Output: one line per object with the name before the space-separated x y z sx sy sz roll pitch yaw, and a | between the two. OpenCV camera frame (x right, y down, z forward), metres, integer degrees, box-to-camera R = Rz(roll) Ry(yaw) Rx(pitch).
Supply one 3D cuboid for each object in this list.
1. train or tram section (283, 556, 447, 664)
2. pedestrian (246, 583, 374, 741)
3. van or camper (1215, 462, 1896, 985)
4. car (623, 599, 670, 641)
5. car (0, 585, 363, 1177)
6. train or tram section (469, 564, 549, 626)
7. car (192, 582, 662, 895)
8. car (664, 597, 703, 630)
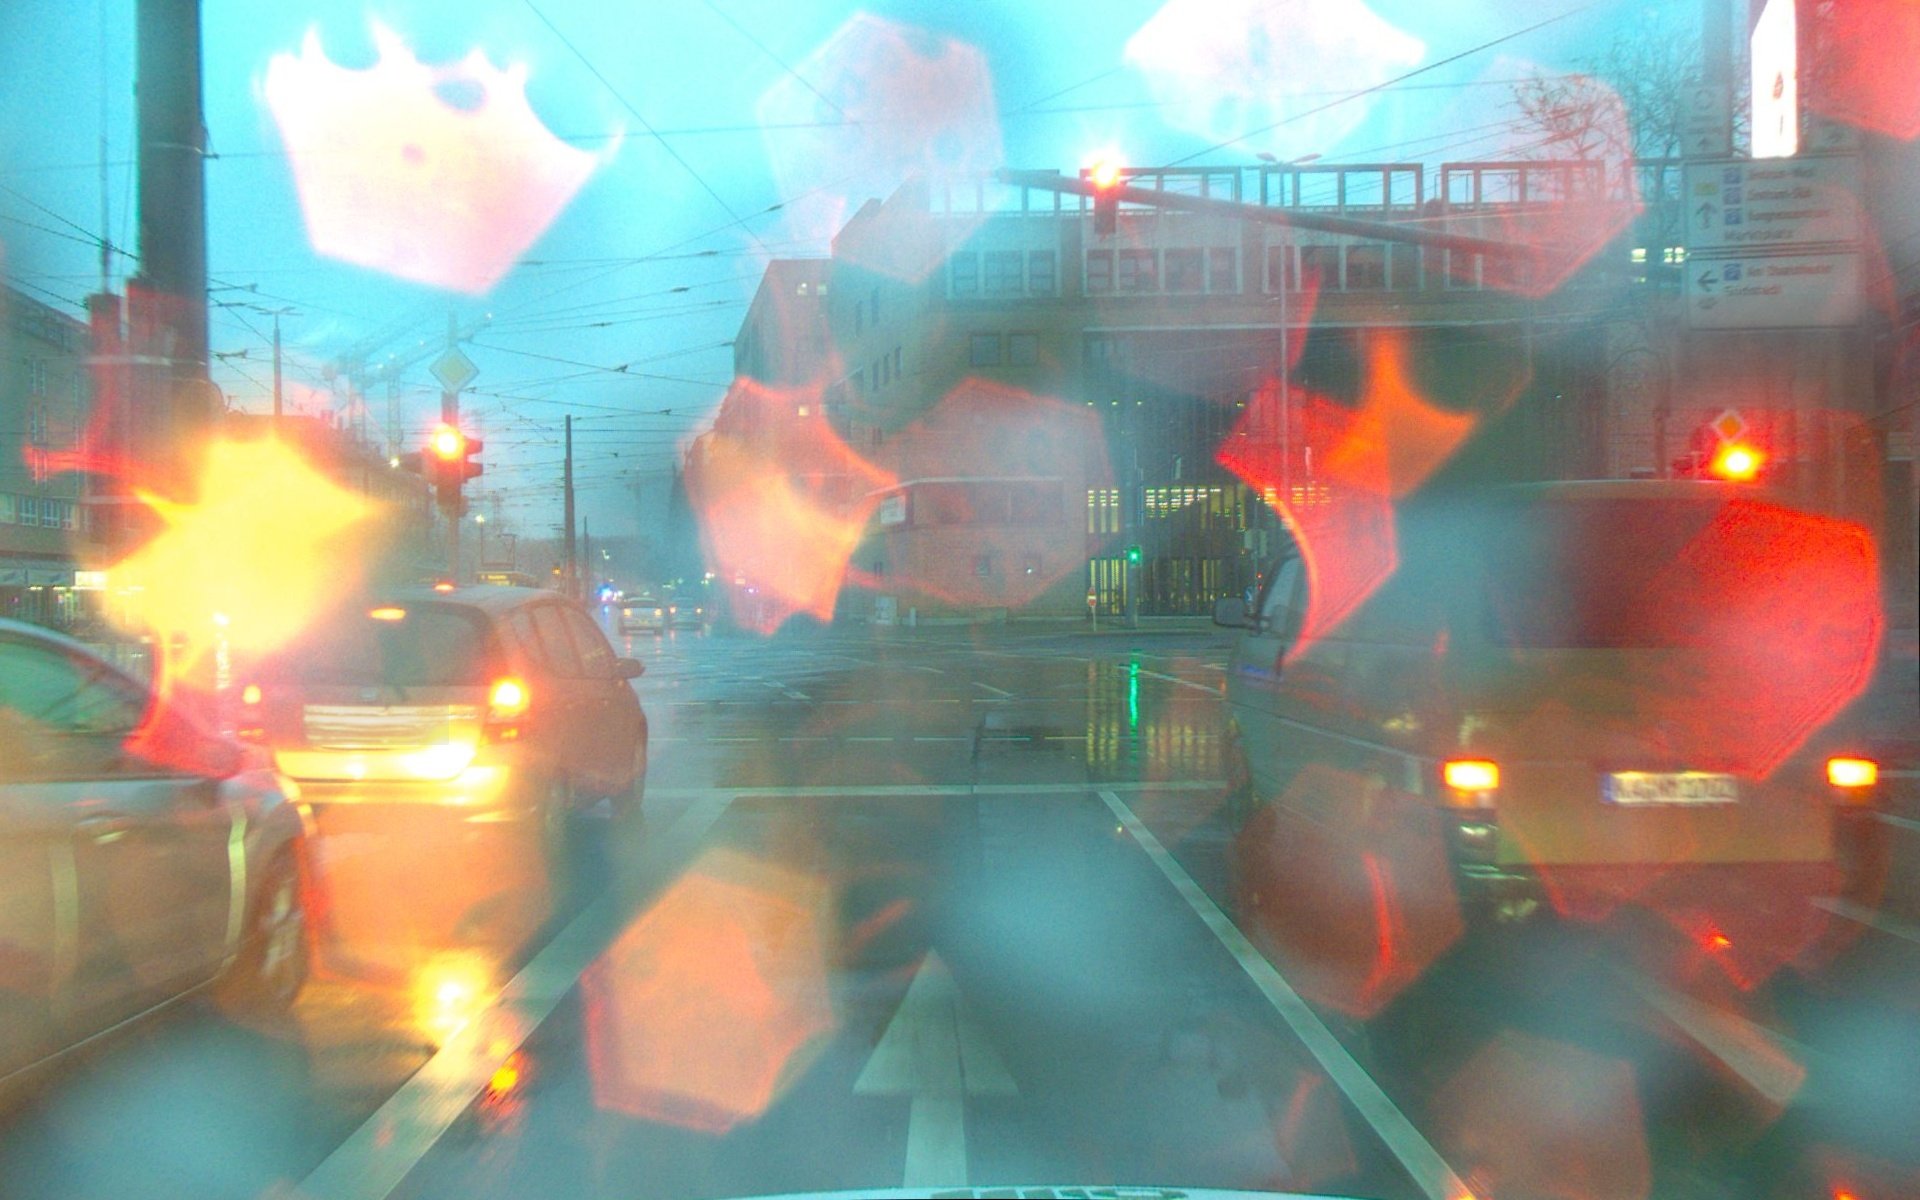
train or tram section | -23.680 0.323 67.248 2.812 3.677 20.022 -1 0 -10
pedestrian | -7.039 0.660 17.928 0.702 1.629 1.032 -3 -1 39
van or camper | 2.570 0.449 8.374 1.721 1.940 4.417 1 0 -2
car | -13.192 0.818 69.455 1.837 1.606 3.989 2 0 -12
car | -3.211 0.686 4.550 1.670 1.473 4.000 1 0 0
train or tram section | -29.159 -0.308 108.224 3.134 3.496 27.751 -1 0 -11
car | -2.931 0.665 9.932 1.663 1.485 3.756 -1 0 -2
car | -14.069 0.671 84.151 1.836 1.606 3.991 2 0 -10
